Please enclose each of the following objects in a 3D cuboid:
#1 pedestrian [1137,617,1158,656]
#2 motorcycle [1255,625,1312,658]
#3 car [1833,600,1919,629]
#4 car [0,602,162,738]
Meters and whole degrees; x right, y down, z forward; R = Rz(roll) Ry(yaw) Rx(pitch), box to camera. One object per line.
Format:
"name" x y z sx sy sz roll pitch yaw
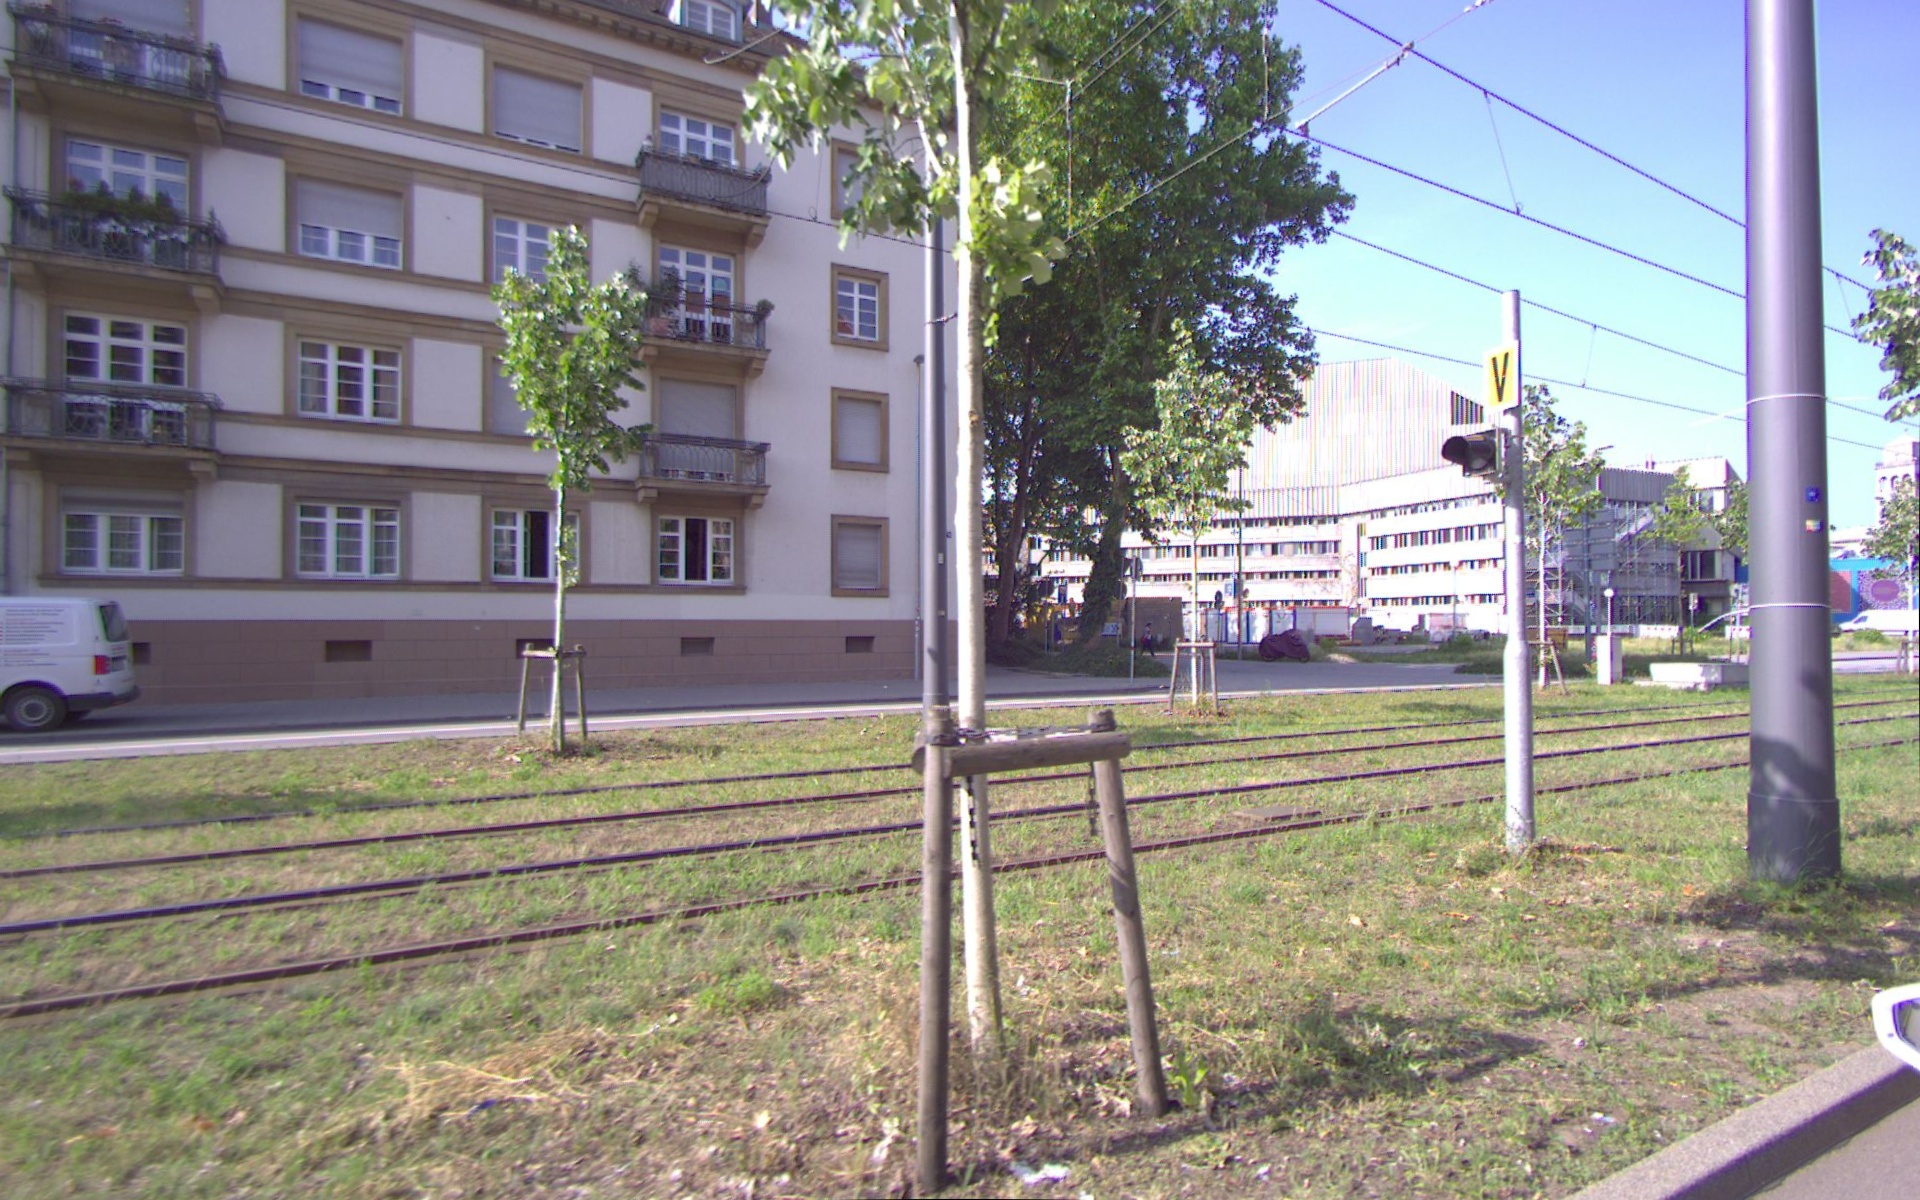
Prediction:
"pedestrian" 8.403 1.627 45.038 0.725 1.700 0.675 -1 -1 35
"motorcycle" 13.953 1.771 43.328 2.253 1.387 0.818 -1 -1 24
"car" 90.368 1.404 98.758 6.794 2.674 2.502 2 1 41
"car" -15.194 1.002 14.795 5.090 1.944 1.985 0 0 -29
